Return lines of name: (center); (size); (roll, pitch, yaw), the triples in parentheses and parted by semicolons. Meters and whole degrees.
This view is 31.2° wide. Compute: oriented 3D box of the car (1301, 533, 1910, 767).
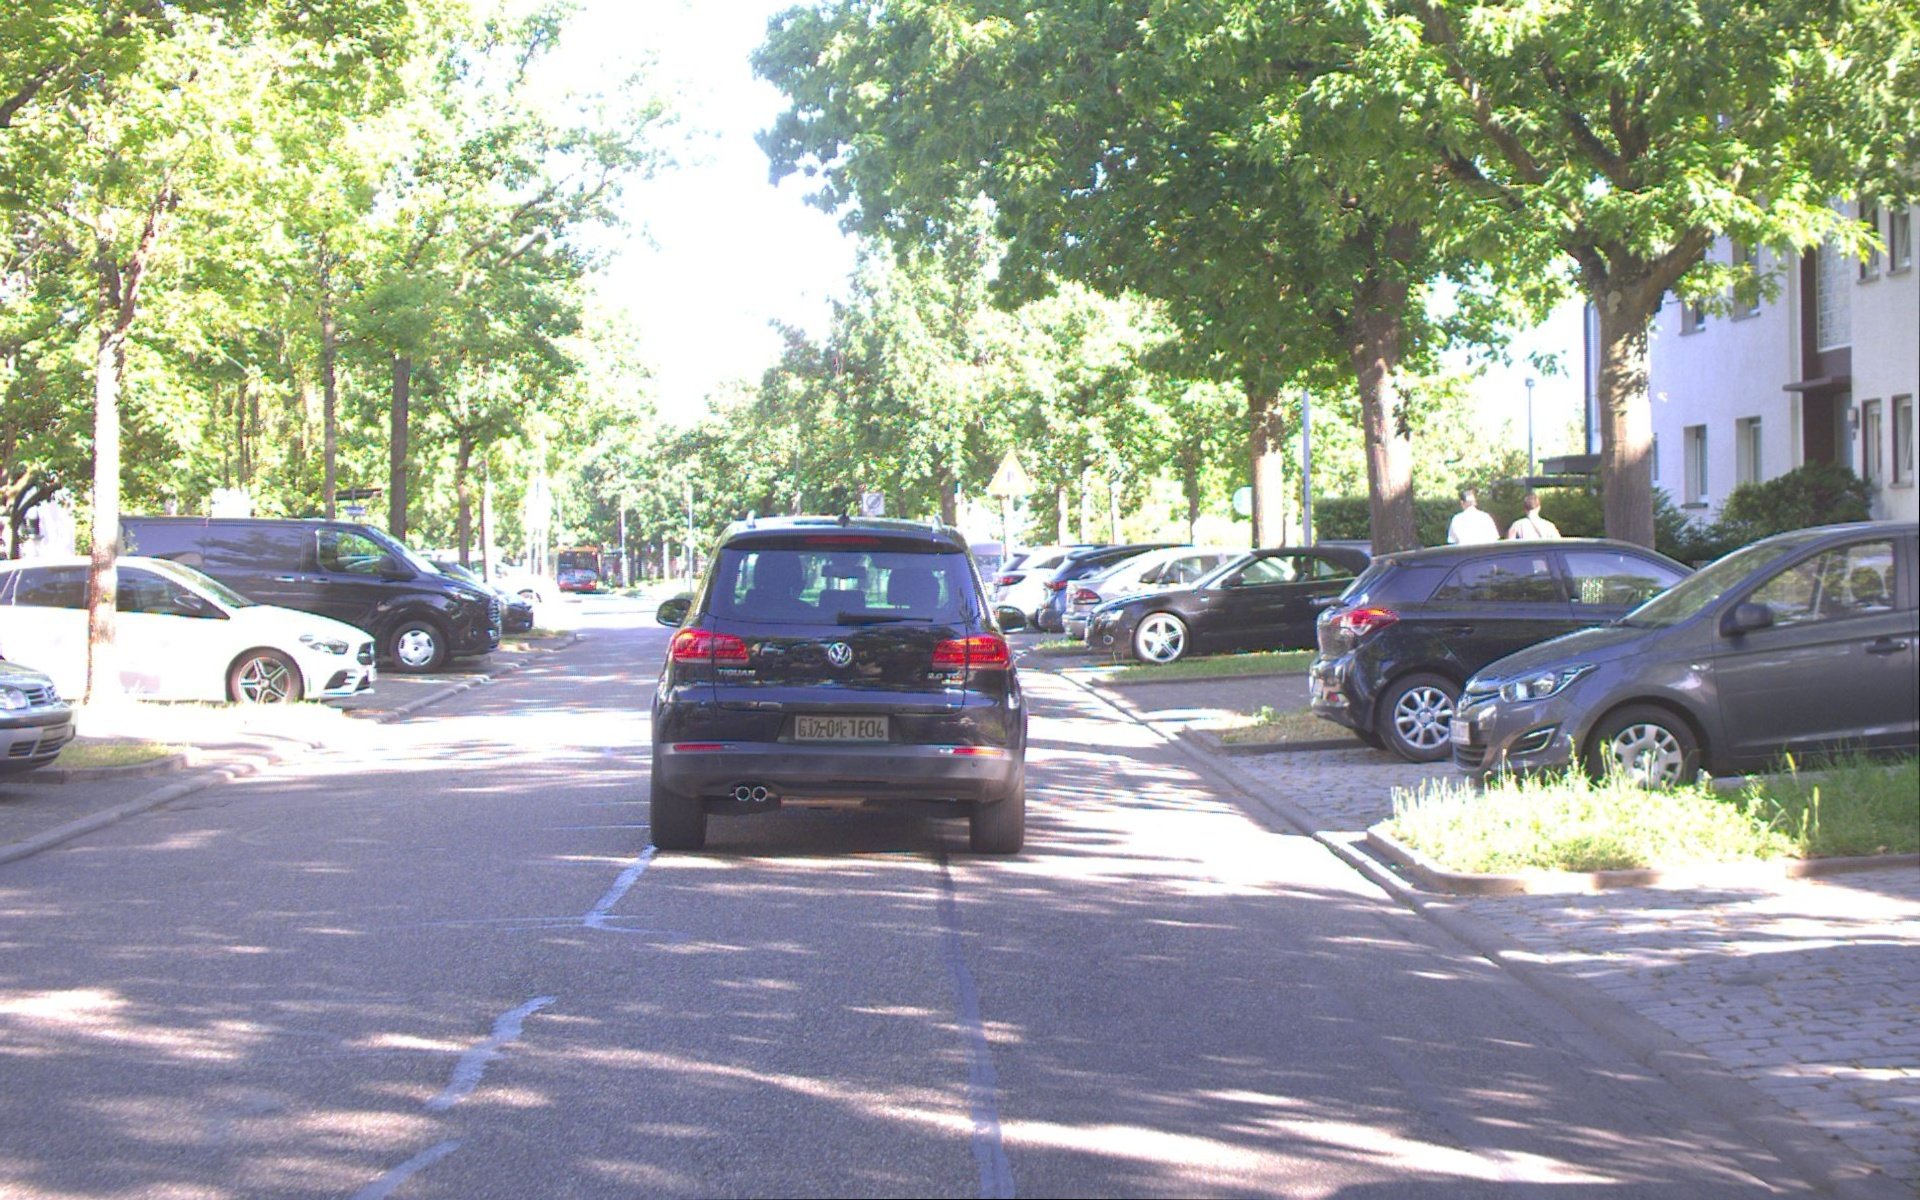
car: (4.412, 0.334, 23.877); (3.882, 1.511, 1.661); (-1, 0, 0)

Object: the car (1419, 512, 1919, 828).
car: (4.690, 0.352, 18.991); (3.986, 1.618, 1.757); (-1, 0, -3)

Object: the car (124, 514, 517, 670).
car: (-8.257, -0.118, 44.726); (4.778, 1.910, 2.019); (-1, 1, -3)

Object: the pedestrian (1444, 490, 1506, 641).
pedestrian: (6.450, -0.430, 43.076); (0.608, 1.867, 0.924); (-1, 0, 0)

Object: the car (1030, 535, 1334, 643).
car: (3.209, -0.173, 50.219); (4.276, 1.498, 1.797); (-1, 1, -1)

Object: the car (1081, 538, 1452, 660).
car: (3.741, -0.015, 42.478); (4.345, 1.358, 1.874); (-1, 0, -2)

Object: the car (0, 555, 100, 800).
car: (-7.726, 0.501, 21.674); (4.182, 1.487, 1.647); (-1, 0, 0)

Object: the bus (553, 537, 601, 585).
bus: (-24.719, -2.506, 222.013); (2.928, 2.993, 5.738); (-1, 0, -6)

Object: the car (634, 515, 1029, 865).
car: (-0.562, 0.394, 18.008); (1.838, 1.631, 3.958); (0, 1, 1)

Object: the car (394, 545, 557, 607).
car: (-13.036, -0.650, 92.704); (4.241, 1.617, 1.897); (-1, 0, -6)

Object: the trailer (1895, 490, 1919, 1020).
trailer: (4.331, 0.439, 9.434); (2.945, 1.658, 1.615); (-3, 0, -6)

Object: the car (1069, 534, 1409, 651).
car: (3.633, -0.112, 45.262); (4.276, 1.409, 1.797); (-1, 1, -1)

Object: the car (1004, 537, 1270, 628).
car: (3.005, -0.312, 58.958); (4.428, 1.486, 1.797); (-1, 1, -1)

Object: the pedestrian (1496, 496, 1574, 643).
pedestrian: (7.201, -0.380, 43.078); (0.835, 1.822, 0.710); (-1, 0, 0)

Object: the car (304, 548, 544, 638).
car: (-9.172, -0.134, 59.039); (3.857, 1.454, 1.713); (-1, 1, -1)

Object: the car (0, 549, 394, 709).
car: (-7.826, 0.266, 33.664); (4.275, 1.473, 1.769); (-1, 1, -1)
